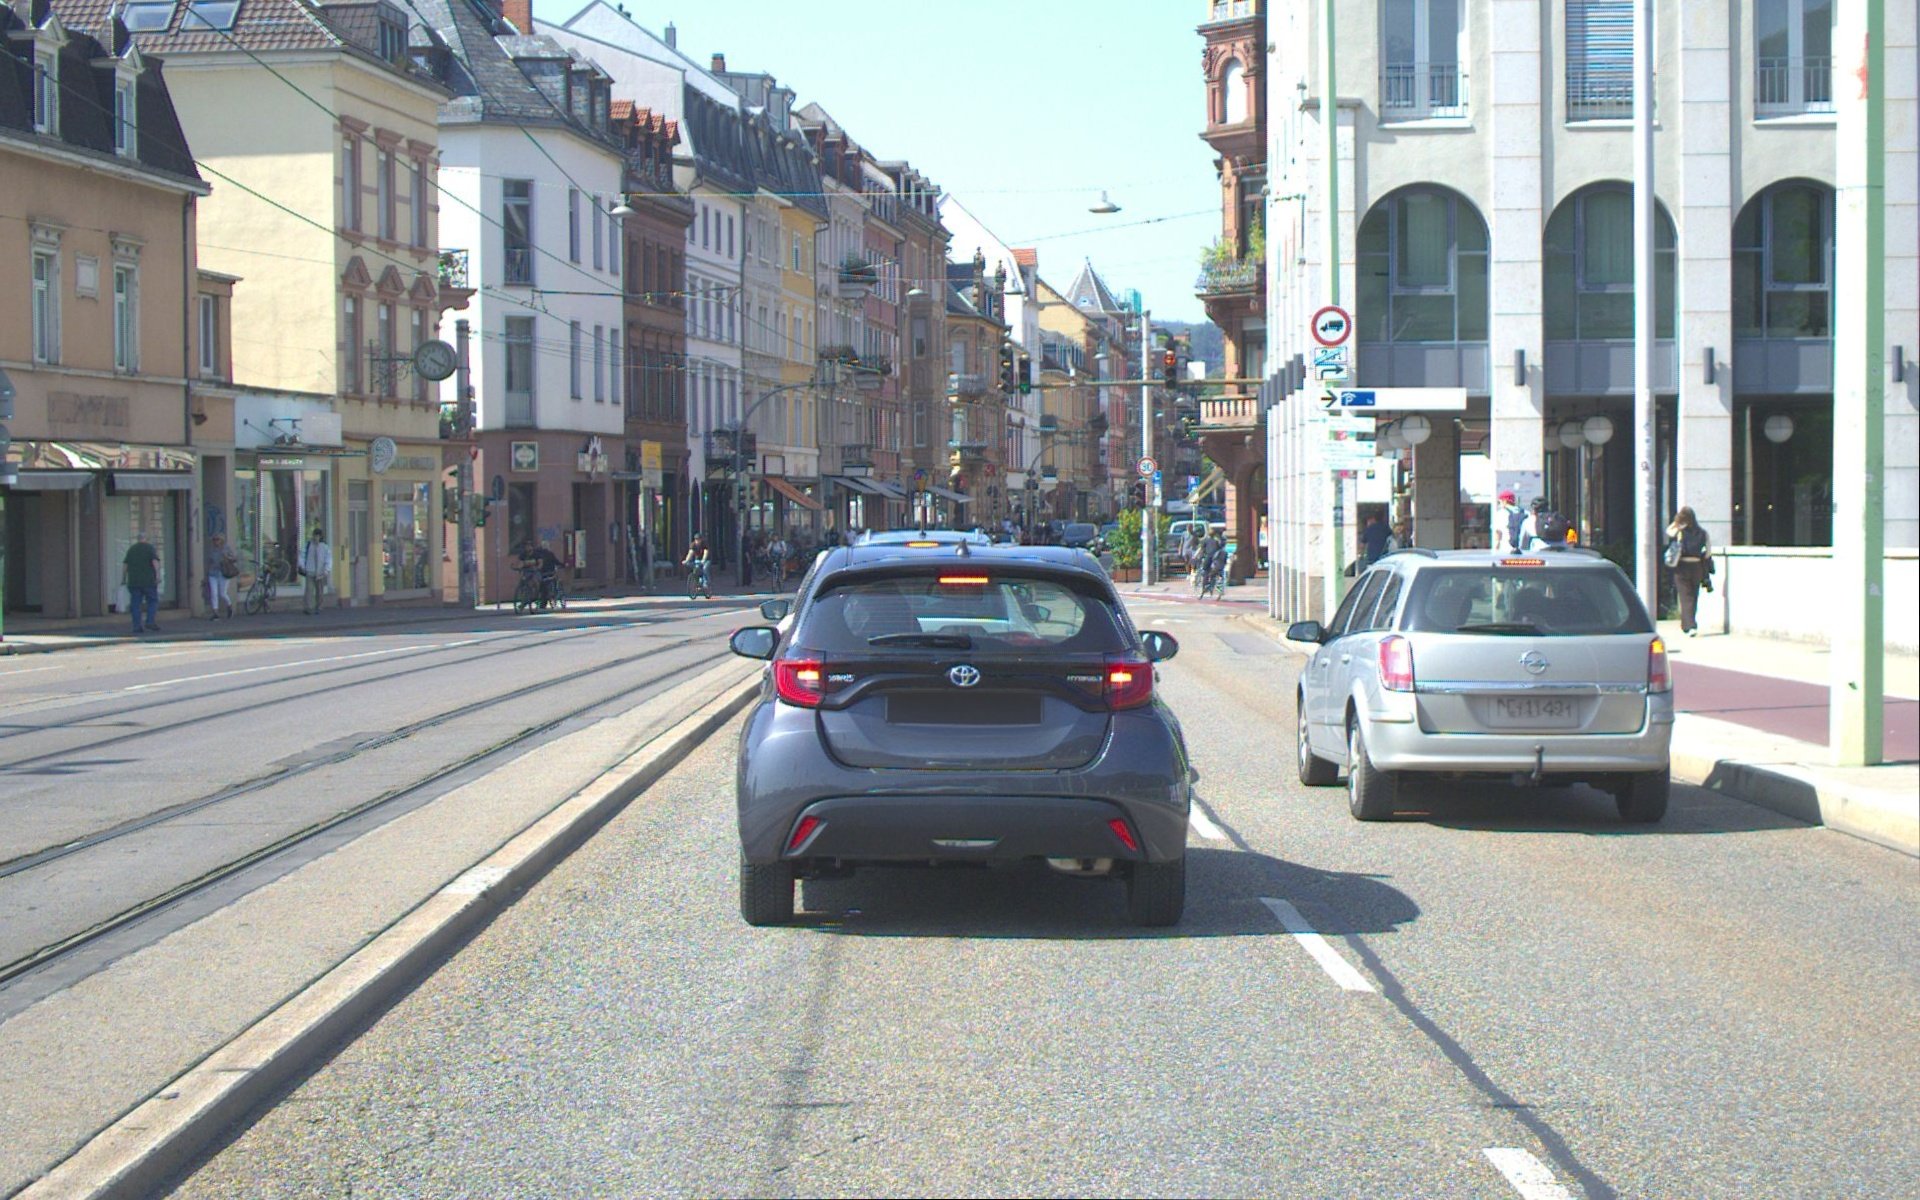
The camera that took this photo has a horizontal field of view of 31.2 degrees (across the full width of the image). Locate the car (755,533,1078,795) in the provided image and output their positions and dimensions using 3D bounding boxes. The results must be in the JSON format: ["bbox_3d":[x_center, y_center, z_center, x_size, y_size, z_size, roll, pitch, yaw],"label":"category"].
[{"bbox_3d":[-0.275,0.346,22.460,1.897,1.525,4.000,1,1,-1],"label":"car"}]

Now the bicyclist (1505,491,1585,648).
[{"bbox_3d":[6.412,-0.342,37.696,0.701,1.689,0.924,-1,1,0],"label":"bicyclist"}]

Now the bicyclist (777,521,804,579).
[{"bbox_3d":[-4.870,-1.449,98.973,0.627,1.644,0.621,2,2,9],"label":"bicyclist"}]

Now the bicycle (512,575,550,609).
[{"bbox_3d":[-9.672,-0.184,77.607,0.620,0.713,1.771,1,2,0],"label":"bicycle"}]

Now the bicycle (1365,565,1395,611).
[{"bbox_3d":[7.170,-0.207,58.697,0.416,0.763,0.962,-2,1,3],"label":"bicycle"}]

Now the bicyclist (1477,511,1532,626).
[{"bbox_3d":[7.027,-0.409,44.344,0.484,1.461,0.443,-3,1,-39],"label":"bicyclist"}]

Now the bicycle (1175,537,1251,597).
[{"bbox_3d":[6.509,-0.875,88.654,1.112,1.415,3.008,4,1,-11],"label":"bicycle"}]

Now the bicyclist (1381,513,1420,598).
[{"bbox_3d":[6.955,-0.708,54.325,0.538,1.312,0.671,-2,1,5],"label":"bicyclist"}]

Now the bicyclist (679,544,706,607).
[{"bbox_3d":[-7.086,-0.653,91.007,0.627,1.644,0.622,1,2,1],"label":"bicyclist"}]

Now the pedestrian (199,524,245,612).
[{"bbox_3d":[-13.982,-0.605,65.164,0.649,1.596,0.566,4,3,0],"label":"pedestrian"}]

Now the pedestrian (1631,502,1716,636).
[{"bbox_3d":[8.935,-0.389,43.077,0.739,1.609,1.016,4,1,-1],"label":"pedestrian"}]

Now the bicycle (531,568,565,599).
[{"bbox_3d":[-10.299,-0.417,85.946,0.620,0.713,1.771,1,2,0],"label":"bicycle"}]

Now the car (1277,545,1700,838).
[{"bbox_3d":[2.909,0.436,19.799,1.705,1.461,4.326,1,1,-1],"label":"car"}]

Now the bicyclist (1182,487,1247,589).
[{"bbox_3d":[6.550,-1.599,88.537,1.227,2.520,1.105,4,1,-12],"label":"bicyclist"}]

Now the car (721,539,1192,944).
[{"bbox_3d":[-0.028,0.495,14.569,1.720,1.468,3.658,1,1,-1],"label":"car"}]

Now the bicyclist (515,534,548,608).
[{"bbox_3d":[-9.666,-0.656,77.582,0.627,1.644,0.622,1,2,1],"label":"bicyclist"}]

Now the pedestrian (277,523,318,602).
[{"bbox_3d":[-13.973,-0.791,72.521,0.649,1.596,0.566,4,3,0],"label":"pedestrian"}]

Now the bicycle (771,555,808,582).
[{"bbox_3d":[-4.897,-0.902,98.989,0.620,0.713,2.044,2,2,9],"label":"bicycle"}]

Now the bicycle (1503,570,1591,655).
[{"bbox_3d":[6.426,0.127,37.691,0.704,0.879,1.525,-1,1,1],"label":"bicycle"}]

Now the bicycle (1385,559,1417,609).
[{"bbox_3d":[6.966,-0.257,54.348,0.416,0.763,1.205,-2,1,4],"label":"bicycle"}]

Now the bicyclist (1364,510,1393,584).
[{"bbox_3d":[7.140,-0.905,58.634,0.422,1.252,0.443,-2,1,3],"label":"bicyclist"}]

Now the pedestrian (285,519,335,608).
[{"bbox_3d":[-13.175,-0.742,69.670,0.736,1.760,0.787,4,1,0],"label":"pedestrian"}]

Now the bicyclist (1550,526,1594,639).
[{"bbox_3d":[7.553,-0.219,42.437,0.422,1.378,0.443,-2,1,0],"label":"bicyclist"}]

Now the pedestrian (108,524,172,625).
[{"bbox_3d":[-13.799,-0.432,57.868,0.762,1.648,0.711,4,1,6],"label":"pedestrian"}]

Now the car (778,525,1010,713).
[{"bbox_3d":[-0.564,0.124,30.527,1.897,1.525,4.000,1,1,-1],"label":"car"}]

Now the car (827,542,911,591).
[{"bbox_3d":[-2.725,-1.029,103.743,1.732,1.455,4.372,0,1,10],"label":"car"}]
